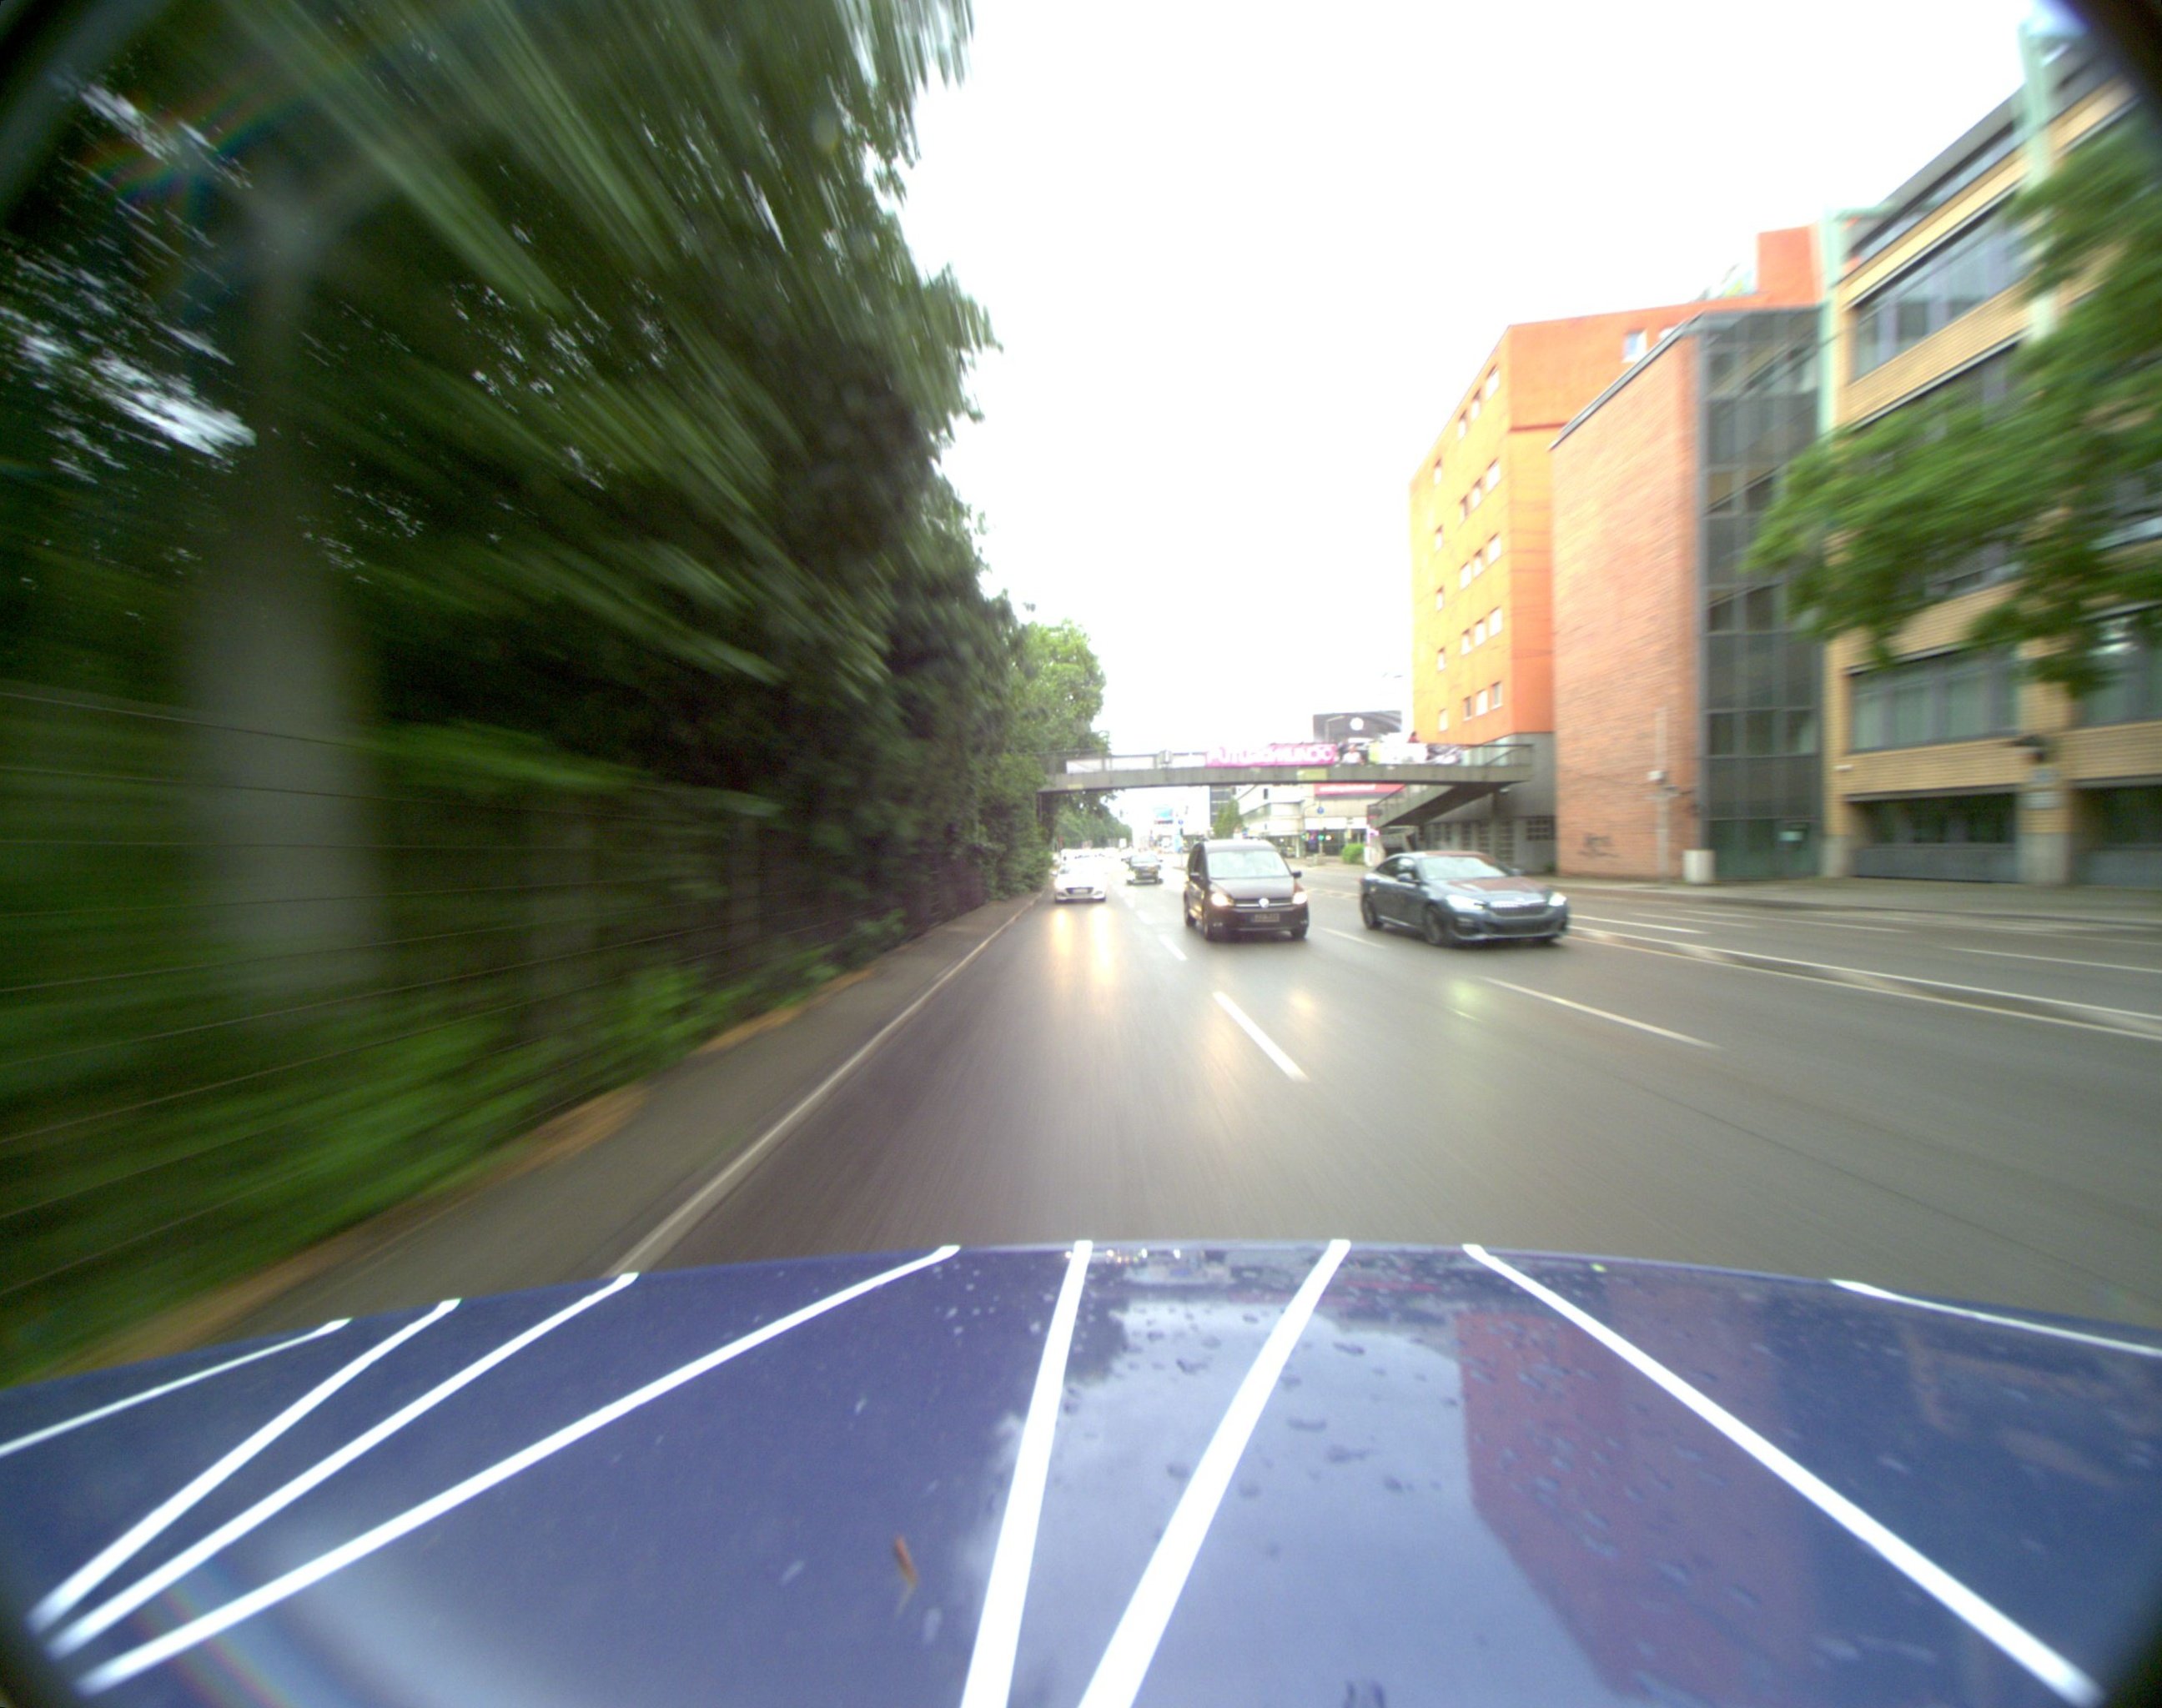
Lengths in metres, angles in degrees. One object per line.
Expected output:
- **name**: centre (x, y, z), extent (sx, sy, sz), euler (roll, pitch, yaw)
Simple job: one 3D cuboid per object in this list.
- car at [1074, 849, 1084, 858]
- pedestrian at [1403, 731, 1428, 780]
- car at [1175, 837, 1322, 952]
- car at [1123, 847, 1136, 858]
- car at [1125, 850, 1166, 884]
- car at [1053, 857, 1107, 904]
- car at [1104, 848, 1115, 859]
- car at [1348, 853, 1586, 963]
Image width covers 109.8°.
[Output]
- **car**: centre (-0.433, -0.106, 156.824), extent (1.878, 1.762, 3.999), euler (-3, 1, 1)
- **pedestrian**: centre (15.928, -4.669, 36.146), extent (0.833, 2.242, 0.738), euler (-1, 2, -5)
- **car**: centre (2.988, 0.660, 14.415), extent (1.842, 1.780, 4.000), euler (-3, 0, 0)
- **car**: centre (6.959, -0.258, 109.706), extent (1.730, 1.502, 3.732), euler (-2, 1, 5)
- **car**: centre (3.353, 0.634, 40.092), extent (1.731, 1.604, 3.999), euler (-2, 1, 0)
- **car**: centre (-0.020, 0.886, 27.050), extent (1.731, 1.431, 3.999), euler (-2, 1, 0)
- **car**: centre (5.235, -0.115, 139.150), extent (1.878, 1.762, 3.999), euler (-3, 1, 1)
- **car**: centre (6.085, 0.753, 12.689), extent (1.669, 1.406, 4.540), euler (-4, 0, 1)
